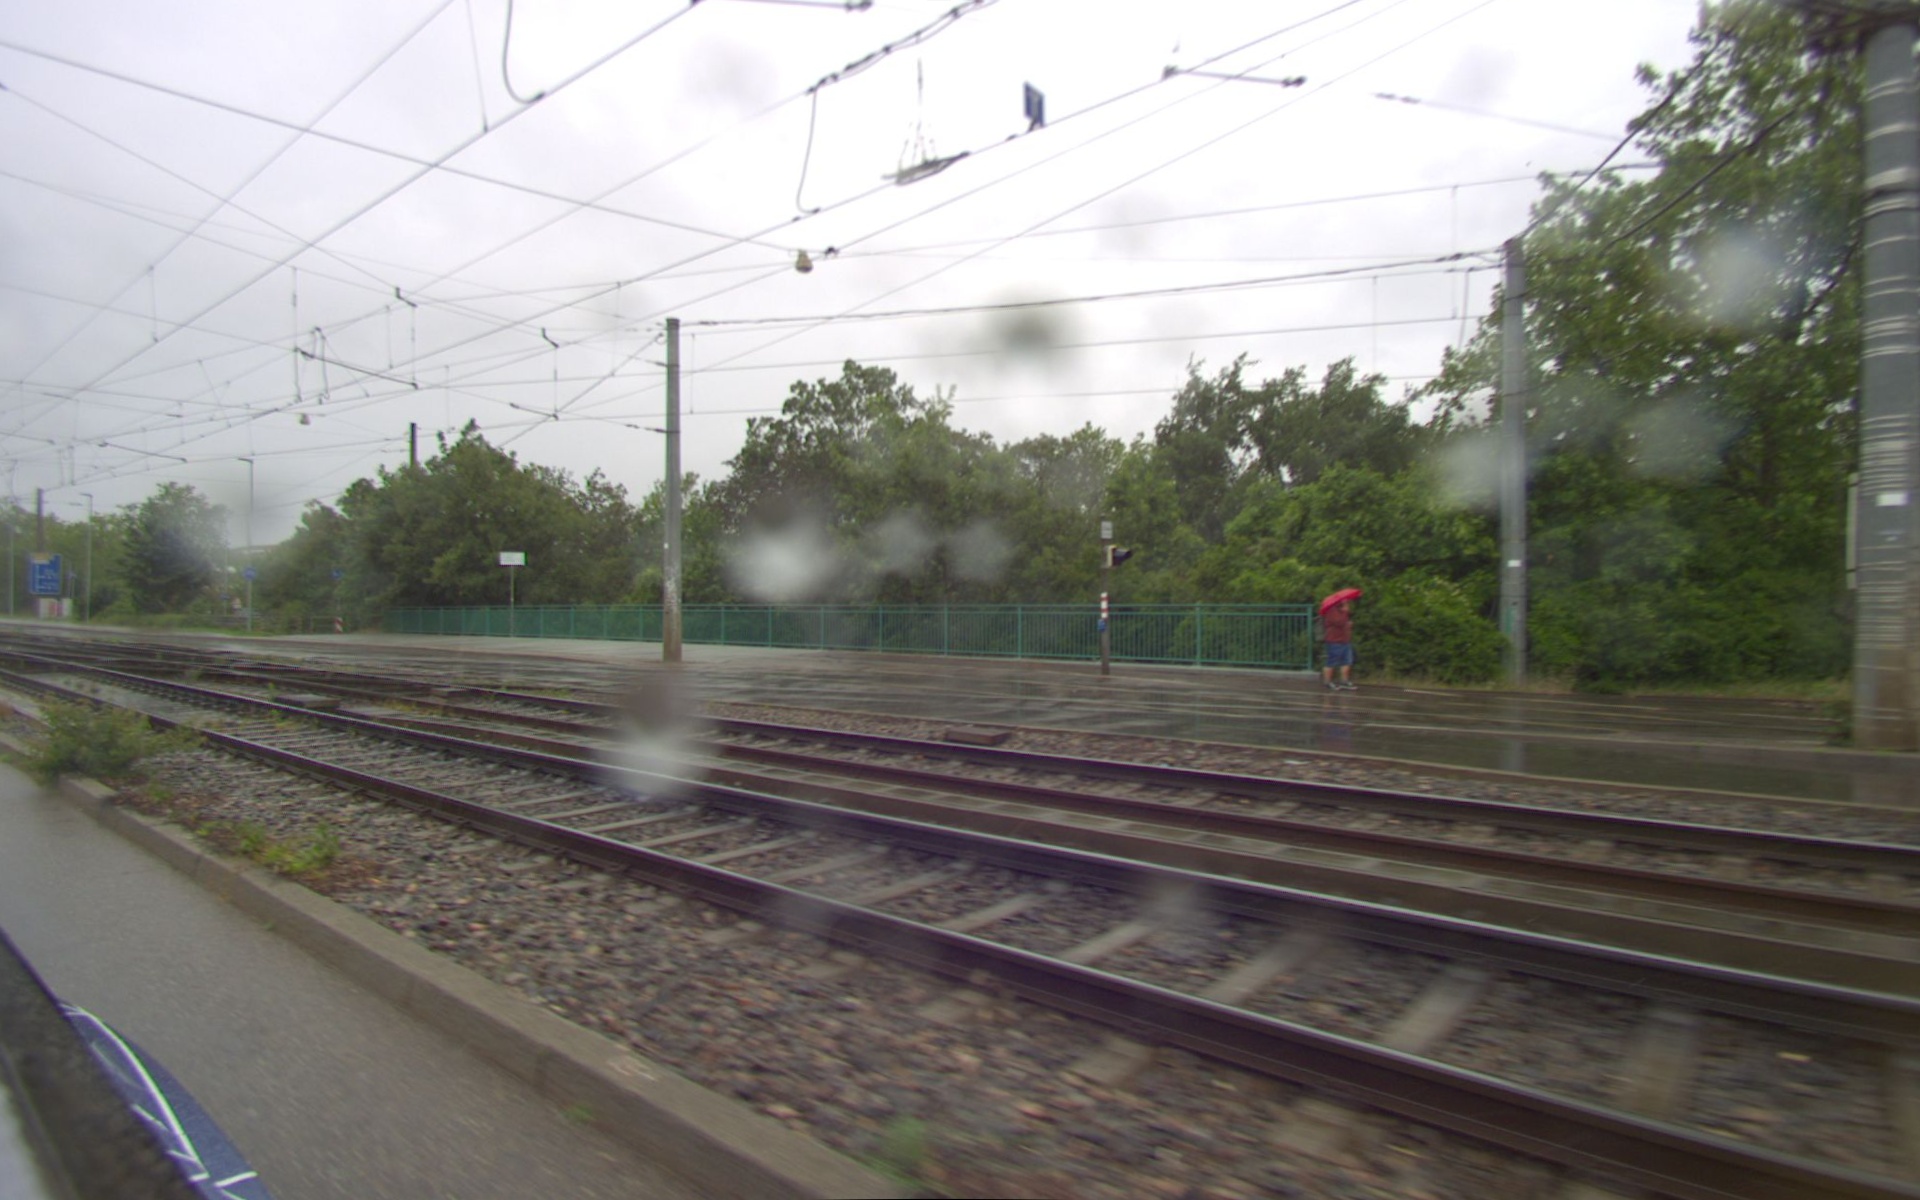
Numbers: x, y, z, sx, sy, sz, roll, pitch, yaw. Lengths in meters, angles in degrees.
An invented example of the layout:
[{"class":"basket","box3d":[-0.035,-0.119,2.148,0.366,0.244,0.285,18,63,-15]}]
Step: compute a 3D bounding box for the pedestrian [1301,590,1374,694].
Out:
[{"class":"pedestrian","box3d":[6.938,0.744,18.607,1.042,1.832,0.856,0,1,39]}]
